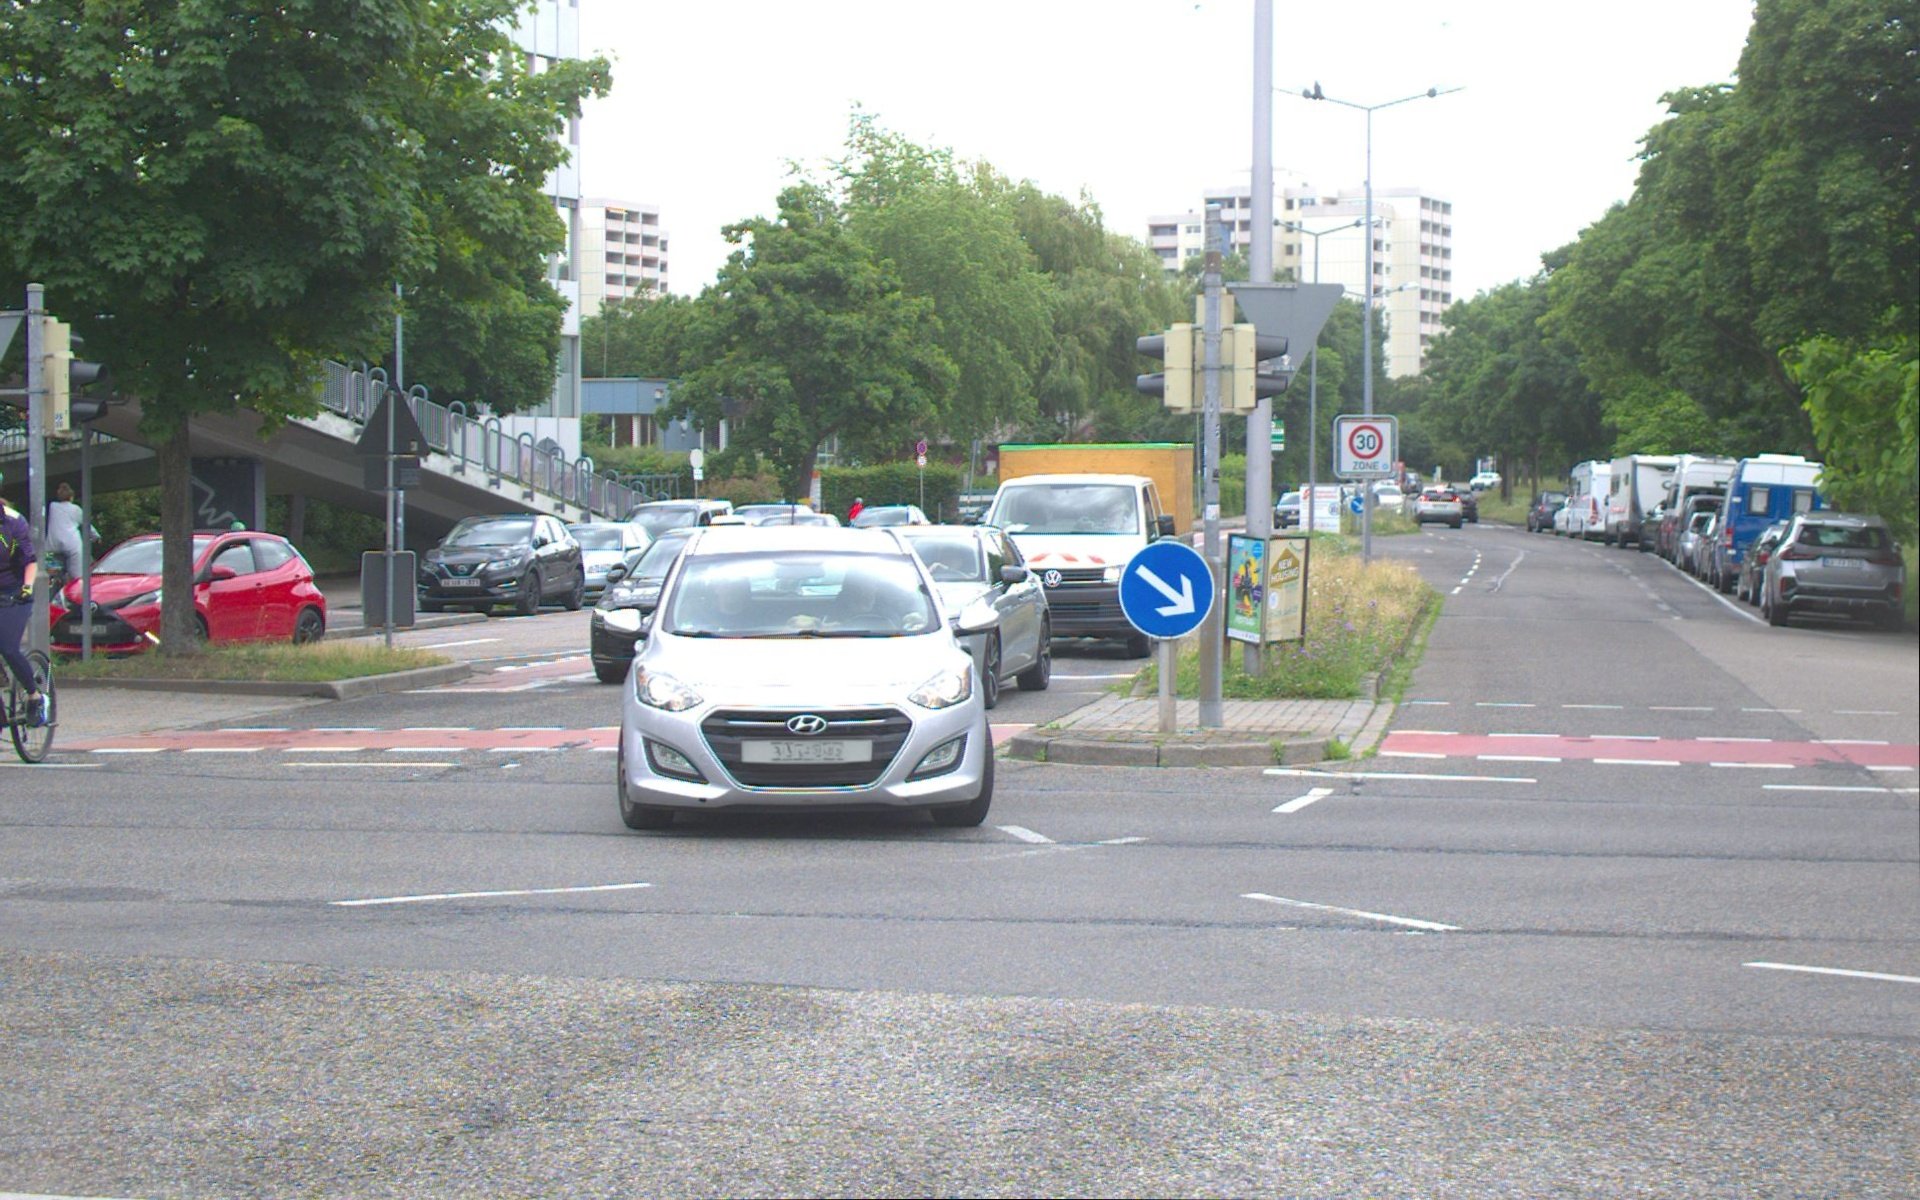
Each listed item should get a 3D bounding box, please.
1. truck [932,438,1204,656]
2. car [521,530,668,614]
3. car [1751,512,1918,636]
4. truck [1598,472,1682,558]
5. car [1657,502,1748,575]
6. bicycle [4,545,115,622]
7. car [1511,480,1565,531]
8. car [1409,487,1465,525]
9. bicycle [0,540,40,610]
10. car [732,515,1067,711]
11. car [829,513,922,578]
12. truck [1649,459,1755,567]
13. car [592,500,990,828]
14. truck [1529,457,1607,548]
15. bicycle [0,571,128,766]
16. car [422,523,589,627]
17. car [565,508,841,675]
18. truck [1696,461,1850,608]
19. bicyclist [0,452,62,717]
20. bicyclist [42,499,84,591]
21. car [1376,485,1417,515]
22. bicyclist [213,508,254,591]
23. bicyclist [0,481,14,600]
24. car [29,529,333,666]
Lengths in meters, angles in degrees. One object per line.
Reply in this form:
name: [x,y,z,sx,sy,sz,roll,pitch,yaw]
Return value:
truck: [1.290,-0.630,37.793,2.156,2.191,5.838,1,2,10]
car: [-6.396,-0.515,60.524,1.672,1.382,3.894,1,2,8]
car: [12.319,-0.406,48.647,1.784,1.656,3.999,1,2,7]
truck: [20.973,-2.609,106.176,1.994,2.564,5.377,1,1,5]
car: [18.268,-1.527,84.736,1.720,1.753,3.999,1,2,6]
bicycle: [-11.722,-0.226,44.806,0.762,0.946,1.953,1,2,6]
car: [22.314,-3.664,132.784,1.651,1.911,3.919,1,2,3]
car: [19.180,-3.798,138.447,2.020,1.500,4.000,1,2,5]
bicycle: [-13.422,-0.344,47.582,0.526,0.946,1.708,1,2,16]
car: [-0.389,0.036,28.017,1.897,1.415,4.734,1,2,9]
car: [-2.079,-1.385,85.802,1.672,1.546,3.999,1,2,8]
truck: [20.264,-2.383,94.092,1.994,2.828,5.731,0,1,4]
car: [-0.769,0.236,18.136,1.789,1.514,4.326,0,2,1]
truck: [20.673,-3.302,117.098,1.994,2.998,5.771,0,1,4]
bicycle: [-5.885,0.398,21.161,0.727,1.097,2.264,1,2,7]
car: [-7.244,-0.432,55.096,1.672,1.546,3.891,1,2,8]
car: [-2.386,-0.140,32.978,1.770,1.472,4.389,1,2,8]
truck: [15.344,-1.247,65.169,2.175,2.647,6.245,0,1,7]
bicyclist: [-5.934,-0.101,20.952,0.679,1.589,0.695,1,1,7]
bicyclist: [-11.648,-0.720,44.646,0.405,1.177,0.377,1,2,10]
car: [22.435,-5.134,176.690,2.021,1.500,3.999,1,2,7]
bicyclist: [-10.794,-0.754,51.066,0.431,1.213,0.567,1,1,7]
bicyclist: [-13.454,-0.824,47.463,0.565,1.639,0.531,1,1,15]
car: [-8.320,-0.061,36.976,1.513,1.385,3.529,1,1,20]
